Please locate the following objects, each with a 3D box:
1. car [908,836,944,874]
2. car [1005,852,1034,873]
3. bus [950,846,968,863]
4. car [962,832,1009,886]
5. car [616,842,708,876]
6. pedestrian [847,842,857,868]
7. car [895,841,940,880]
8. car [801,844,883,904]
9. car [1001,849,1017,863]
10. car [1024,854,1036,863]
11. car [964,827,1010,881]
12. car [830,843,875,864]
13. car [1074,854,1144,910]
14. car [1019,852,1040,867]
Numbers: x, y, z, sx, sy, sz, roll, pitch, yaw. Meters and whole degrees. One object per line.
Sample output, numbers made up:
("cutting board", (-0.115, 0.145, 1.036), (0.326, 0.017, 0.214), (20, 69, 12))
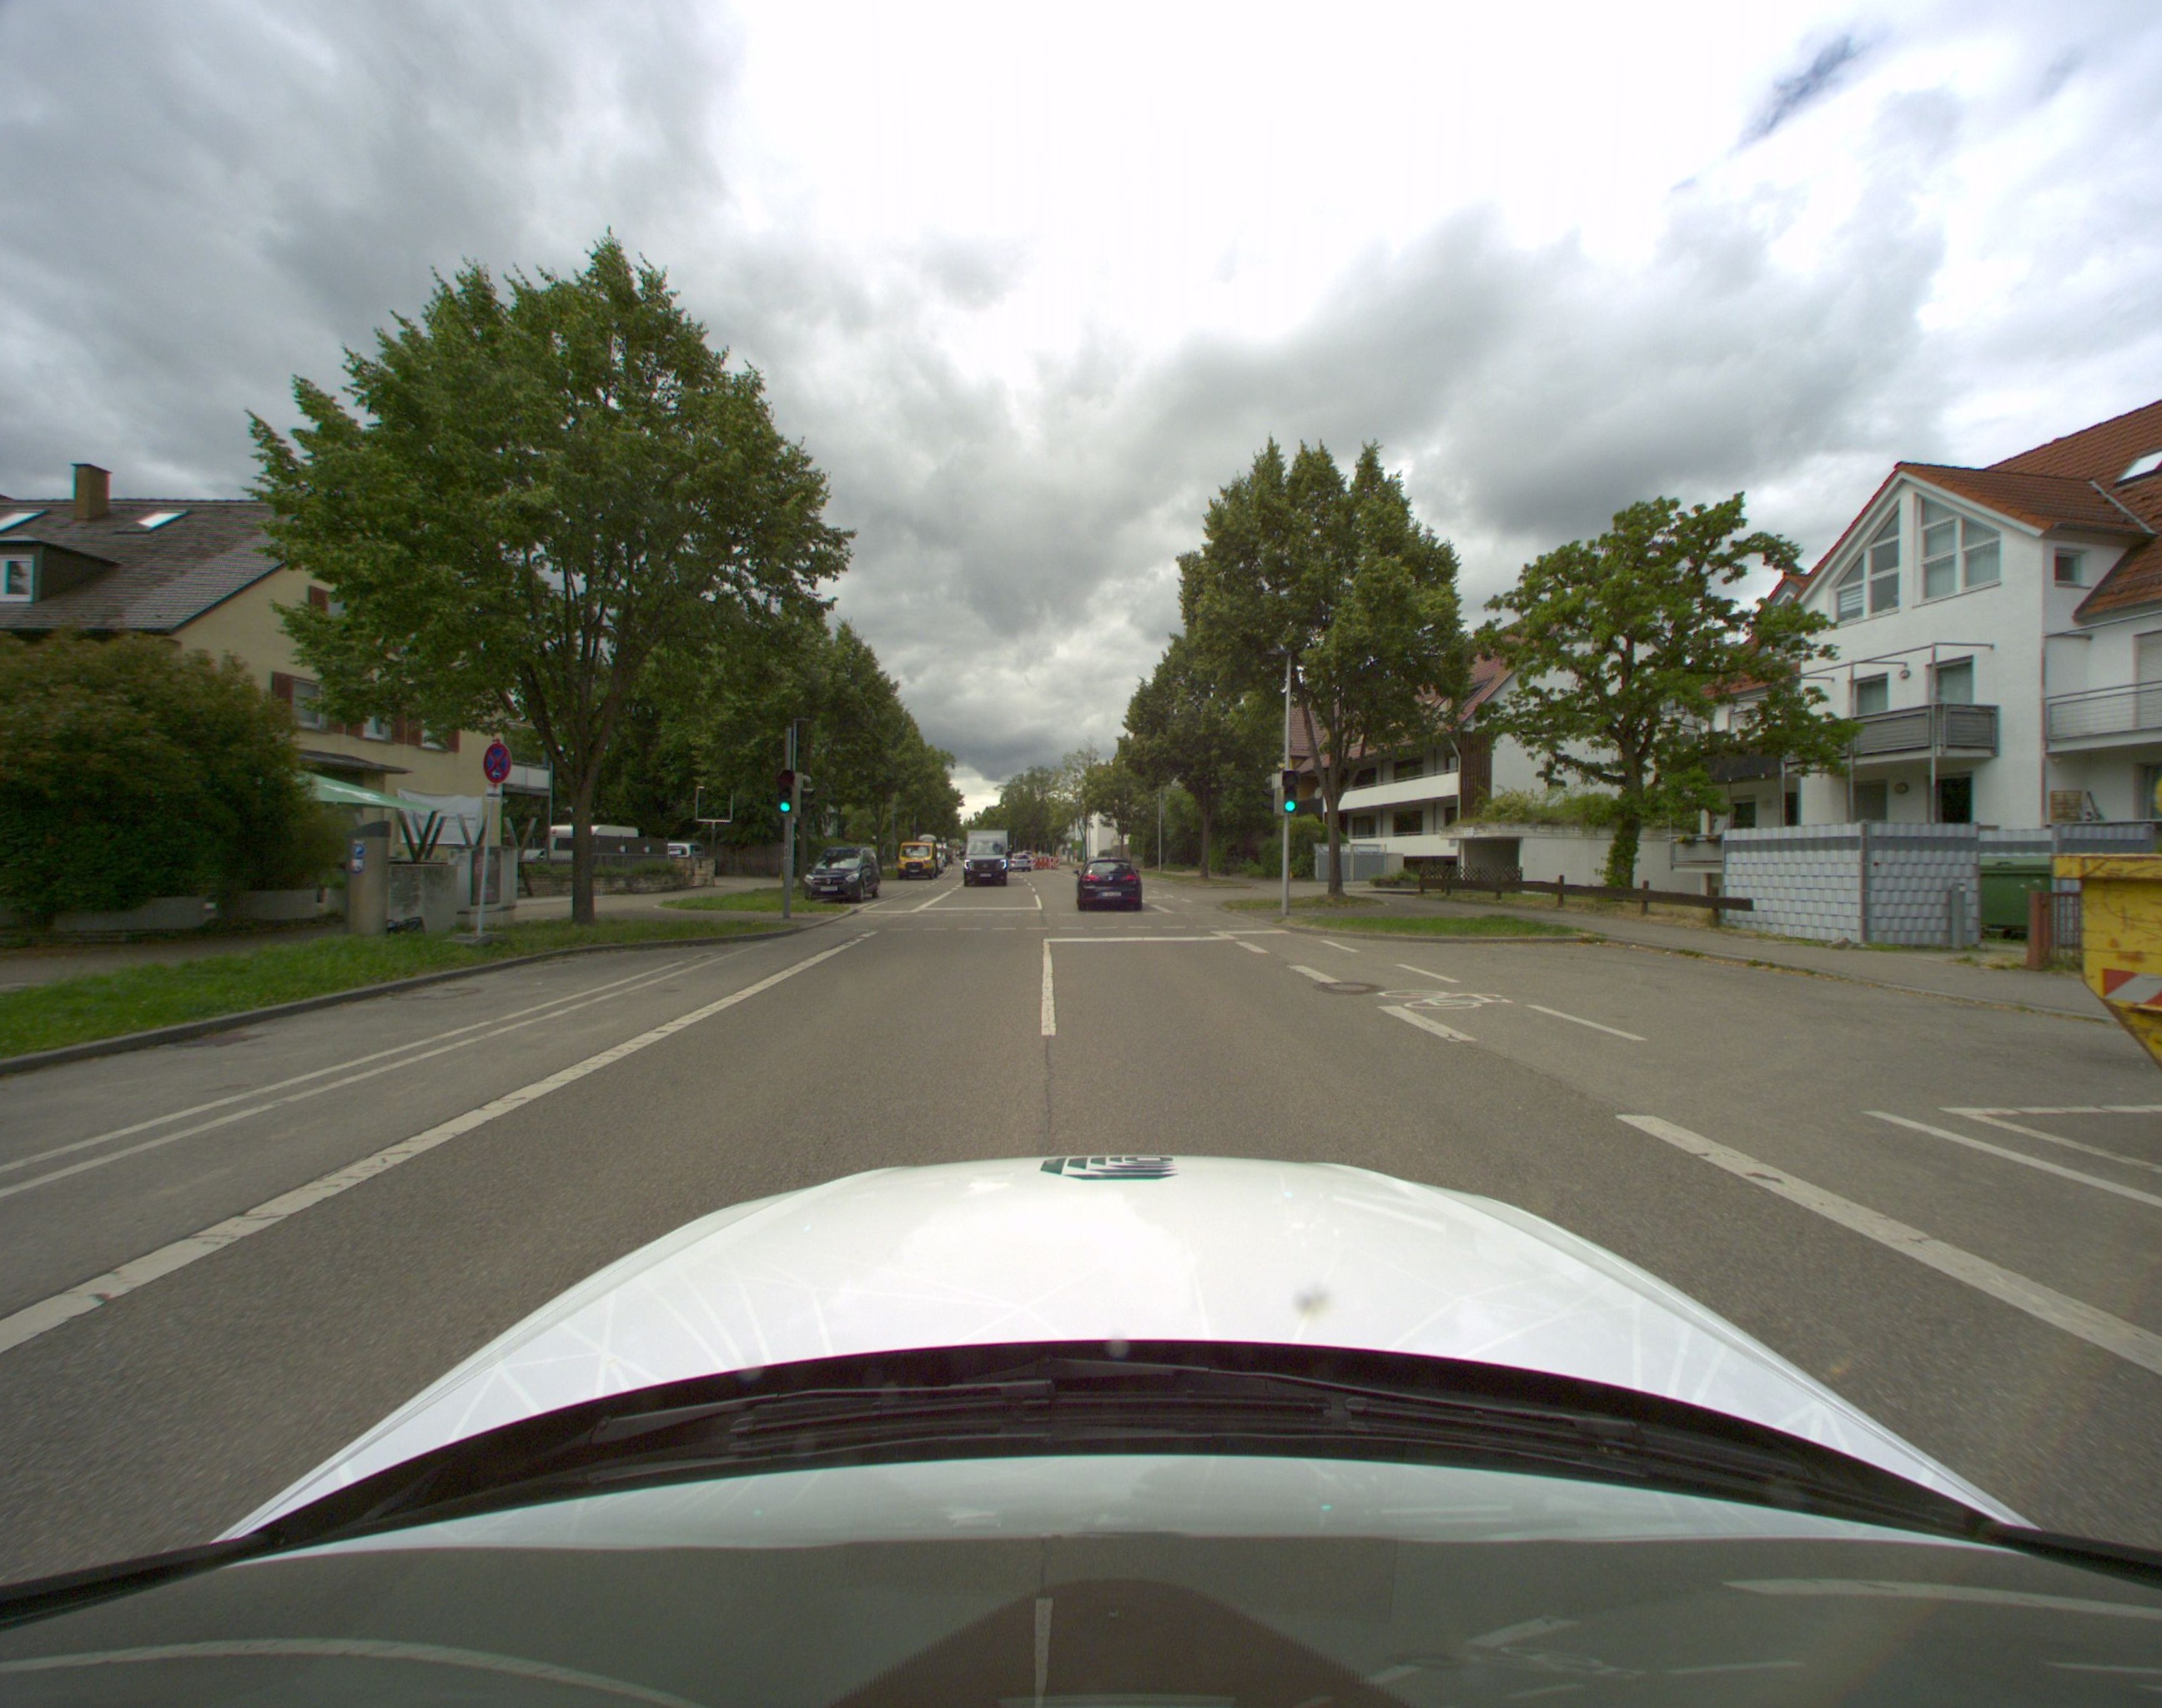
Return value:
("car", (-11.185, 0.044, 58.944), (2.089, 2.626, 5.035), (0, 0, -5))
("car", (-5.067, 0.659, 66.800), (1.908, 1.685, 3.723), (-1, 0, -13))
("bus", (-15.824, 0.002, 105.723), (1.991, 2.123, 7.342), (0, 0, -7))
("car", (-4.548, 0.214, 39.493), (2.025, 2.385, 5.253), (-1, 0, -5))
("car", (-22.293, 0.269, 43.426), (3.971, 1.769, 1.747), (0, -1, 2))
("pedestrian", (-15.596, 0.060, 55.415), (0.594, 1.741, 0.573), (0, 0, -6))
("car", (-9.672, 0.356, 48.480), (2.089, 2.175, 5.035), (0, 0, -5))
("car", (-7.675, 0.598, 26.577), (1.664, 1.772, 4.460), (-1, 0, -5))
("car", (-8.703, 0.233, 98.431), (1.790, 1.623, 3.729), (-1, 0, -8))
("car", (-7.692, 0.643, 122.708), (1.806, 1.415, 3.689), (0, 0, -3))
("car", (-5.143, -0.003, 45.632), (2.284, 2.792, 7.131), (-1, 0, -5))
("car", (-20.862, -0.024, 74.490), (3.677, 1.926, 1.675), (0, 0, -6))
("car", (0.749, 0.727, 22.942), (1.813, 1.437, 3.740), (-1, 0, 1))
("car", (-5.139, 0.537, 80.918), (1.809, 1.415, 3.682), (0, 0, -9))
